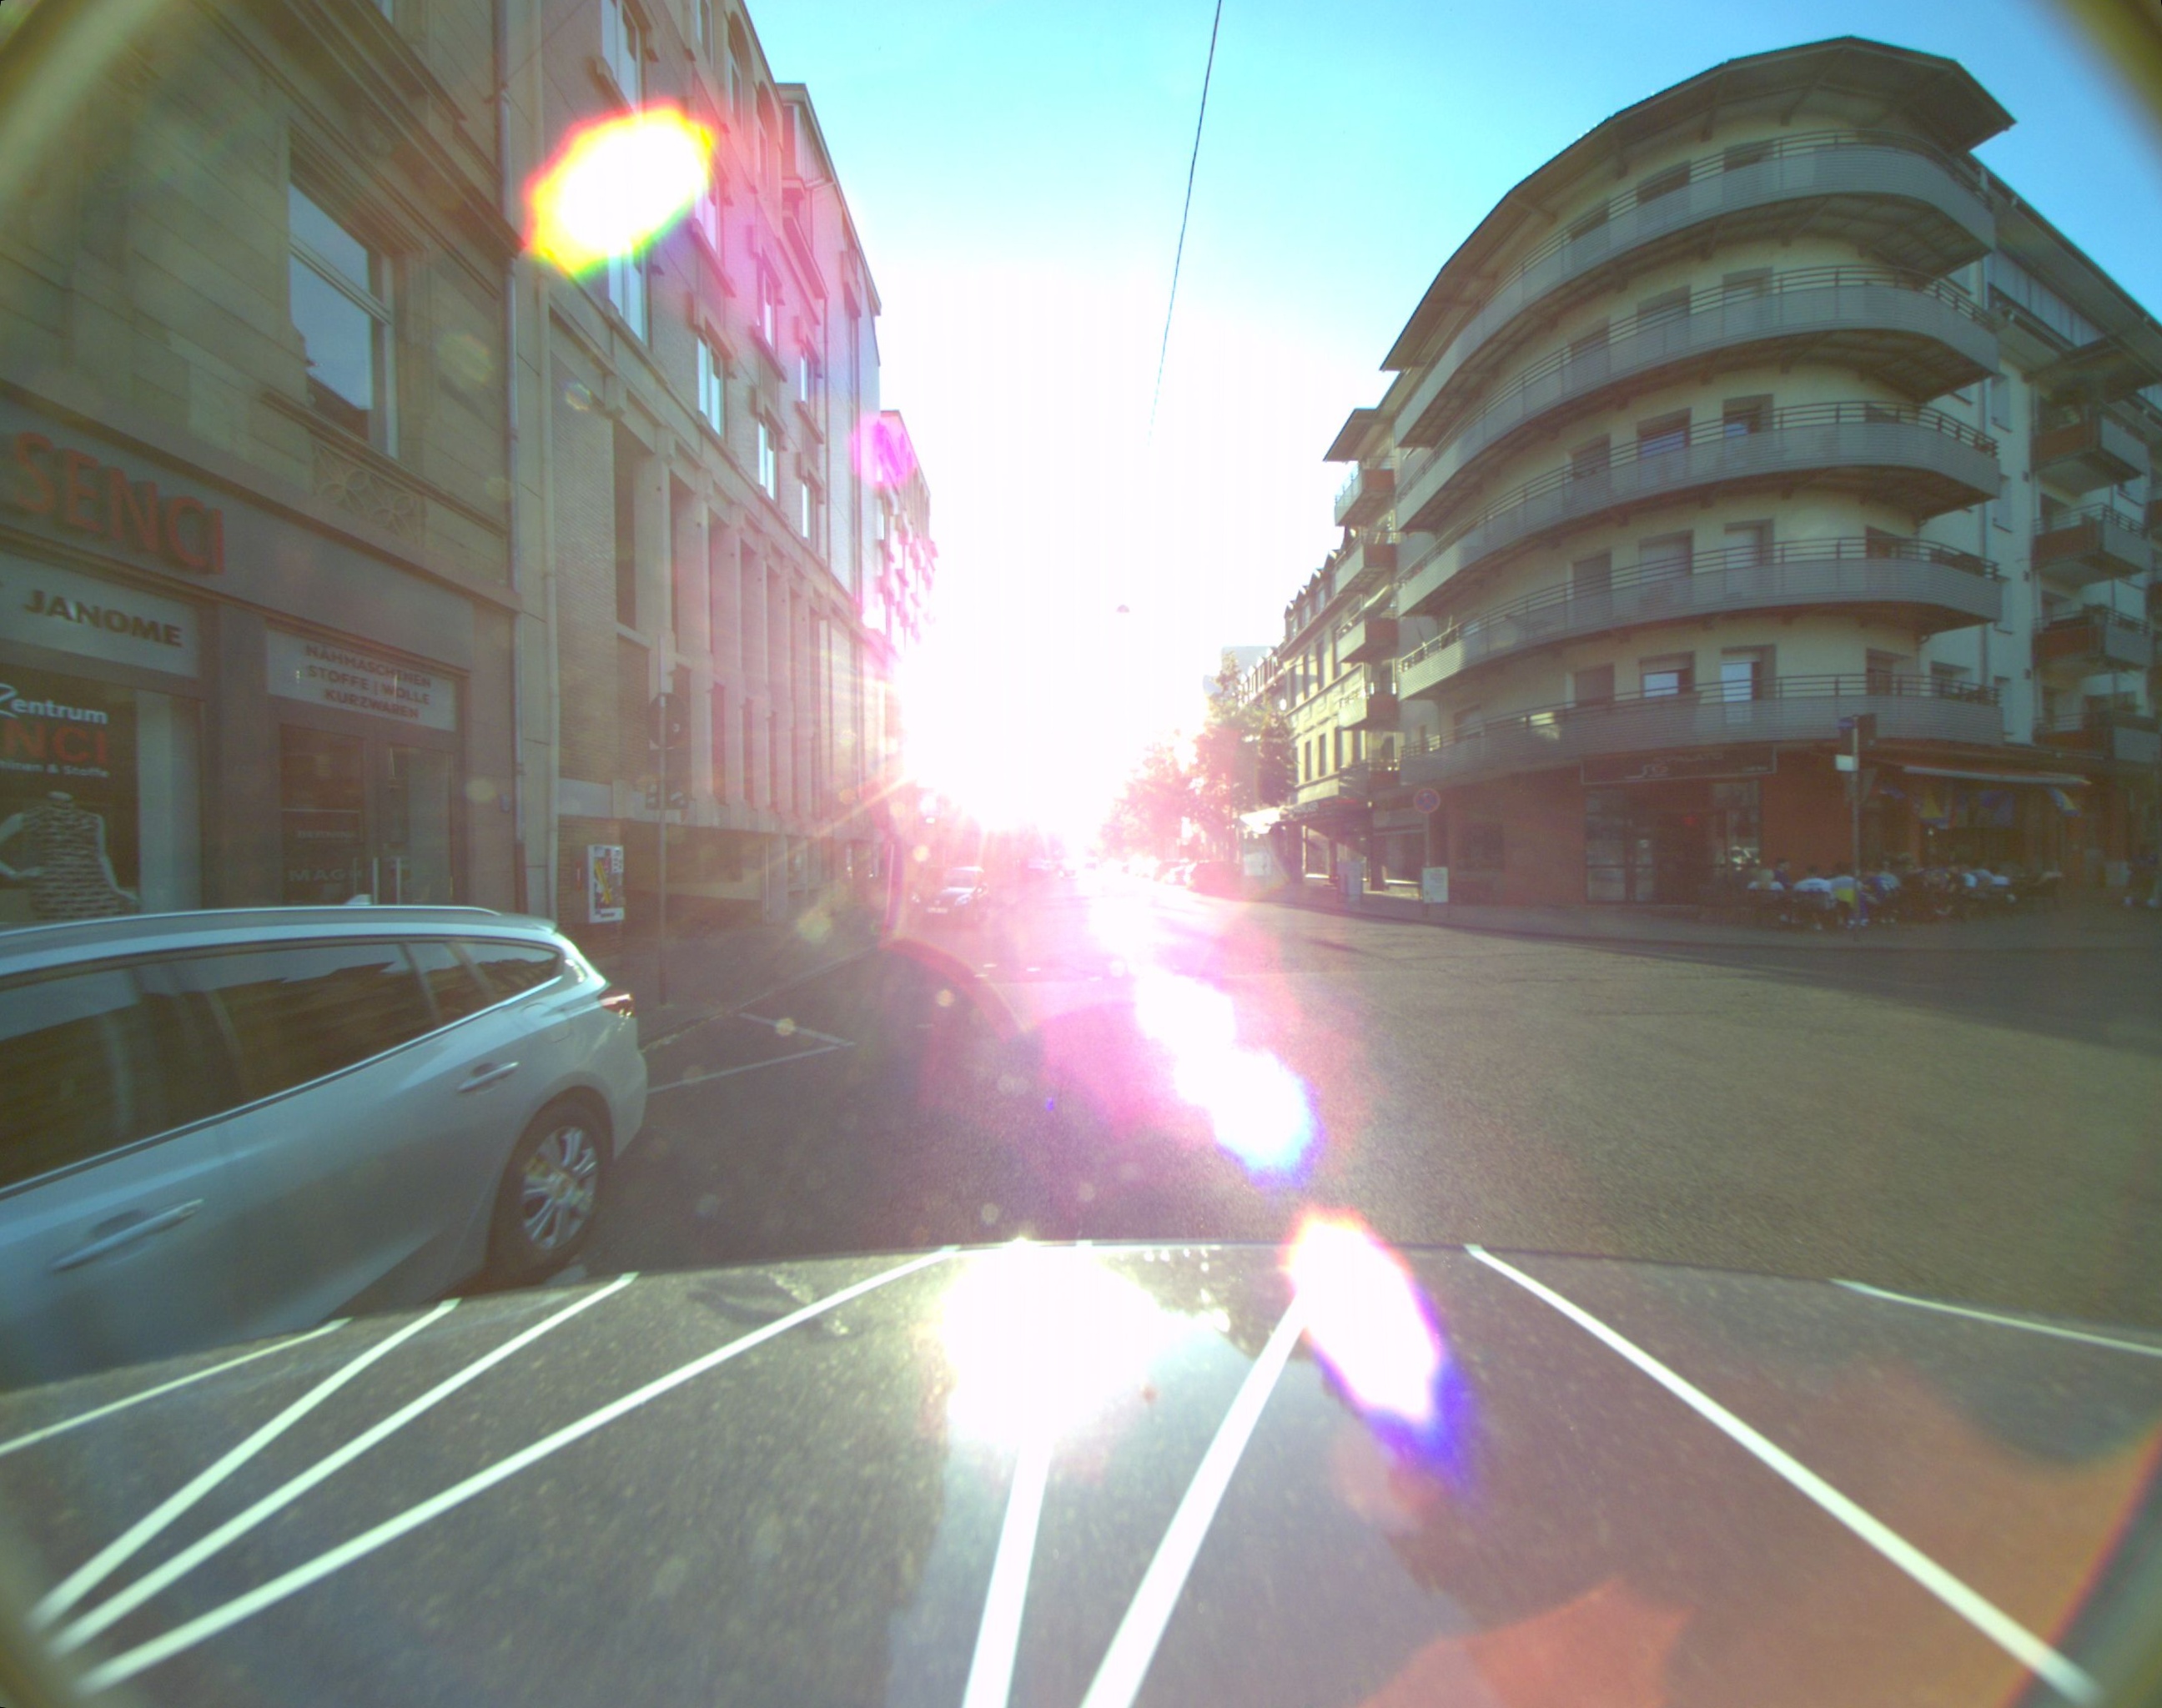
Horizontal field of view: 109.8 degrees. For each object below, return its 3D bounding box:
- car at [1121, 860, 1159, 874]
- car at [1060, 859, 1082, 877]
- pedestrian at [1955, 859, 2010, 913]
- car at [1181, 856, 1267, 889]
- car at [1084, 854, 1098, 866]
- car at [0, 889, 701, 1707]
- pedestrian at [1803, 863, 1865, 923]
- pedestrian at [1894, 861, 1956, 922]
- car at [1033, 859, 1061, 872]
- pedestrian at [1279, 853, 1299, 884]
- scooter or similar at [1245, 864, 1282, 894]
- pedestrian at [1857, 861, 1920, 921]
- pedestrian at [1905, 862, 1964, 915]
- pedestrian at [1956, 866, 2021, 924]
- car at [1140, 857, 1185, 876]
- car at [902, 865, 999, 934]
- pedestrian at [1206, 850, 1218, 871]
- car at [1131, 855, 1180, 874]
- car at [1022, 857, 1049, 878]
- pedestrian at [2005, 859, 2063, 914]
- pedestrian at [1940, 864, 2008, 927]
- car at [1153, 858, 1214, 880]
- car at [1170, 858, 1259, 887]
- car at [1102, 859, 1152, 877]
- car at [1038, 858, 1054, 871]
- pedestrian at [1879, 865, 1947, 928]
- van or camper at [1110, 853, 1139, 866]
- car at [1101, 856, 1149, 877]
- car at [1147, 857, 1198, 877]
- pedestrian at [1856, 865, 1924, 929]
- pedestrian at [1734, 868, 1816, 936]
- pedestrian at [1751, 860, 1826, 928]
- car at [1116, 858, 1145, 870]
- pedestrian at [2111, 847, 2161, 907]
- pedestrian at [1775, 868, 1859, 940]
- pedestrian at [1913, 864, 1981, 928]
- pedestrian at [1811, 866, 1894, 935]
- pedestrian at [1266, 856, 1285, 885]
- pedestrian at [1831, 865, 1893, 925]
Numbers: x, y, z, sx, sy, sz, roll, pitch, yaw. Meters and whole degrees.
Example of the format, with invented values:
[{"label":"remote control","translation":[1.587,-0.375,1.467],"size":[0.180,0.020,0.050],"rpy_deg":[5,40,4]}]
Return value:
[{"label":"car","translation":[6.782,1.515,87.572],"size":[4.285,1.475,1.744],"rpy_deg":[-2,0,0]},{"label":"car","translation":[-0.854,1.220,66.899],"size":[1.825,1.469,4.155],"rpy_deg":[-2,0,0]},{"label":"pedestrian","translation":[22.471,0.780,18.947],"size":[0.622,1.280,0.700],"rpy_deg":[-1,2,-22]},{"label":"car","translation":[7.462,0.961,39.947],"size":[4.083,1.527,1.884],"rpy_deg":[-2,0,-1]},{"label":"car","translation":[1.424,0.870,112.174],"size":[1.866,1.682,4.461],"rpy_deg":[-1,-1,-1]},{"label":"car","translation":[-2.810,1.003,1.525],"size":[1.764,1.527,4.820],"rpy_deg":[-3,0,-3]},{"label":"pedestrian","translation":[16.283,0.836,16.437],"size":[0.622,1.240,0.701],"rpy_deg":[-1,2,-10]},{"label":"pedestrian","translation":[19.148,0.842,17.254],"size":[0.622,1.326,0.701],"rpy_deg":[-1,2,-10]},{"label":"car","translation":[-4.490,1.501,99.886],"size":[1.661,1.574,3.632],"rpy_deg":[-1,-2,41]},{"label":"pedestrian","translation":[11.206,0.795,40.976],"size":[0.774,1.598,0.875],"rpy_deg":[-2,2,0]},{"label":"scooter or similar","translation":[7.784,1.054,32.405],"size":[1.402,1.218,0.525],"rpy_deg":[-2,0,-4]},{"label":"pedestrian","translation":[18.021,0.810,16.976],"size":[0.657,1.280,0.701],"rpy_deg":[-1,2,-10]},{"label":"pedestrian","translation":[20.476,0.815,18.236],"size":[0.622,1.218,0.700],"rpy_deg":[-1,2,-14]},{"label":"pedestrian","translation":[20.174,0.898,16.900],"size":[0.622,1.218,0.700],"rpy_deg":[-1,2,-14]},{"label":"car","translation":[6.942,1.037,64.719],"size":[3.566,1.493,1.715],"rpy_deg":[-2,0,-2]},{"label":"car","translation":[-3.293,1.101,19.855],"size":[1.763,1.527,4.000],"rpy_deg":[2,0,0]},{"label":"pedestrian","translation":[10.811,0.541,62.867],"size":[0.774,1.712,0.875],"rpy_deg":[-2,2,0]},{"label":"car","translation":[7.036,0.980,72.382],"size":[4.418,1.586,1.890],"rpy_deg":[-2,-1,-2]},{"label":"car","translation":[-3.970,1.163,67.326],"size":[2.044,1.727,4.711],"rpy_deg":[1,0,0]},{"label":"pedestrian","translation":[23.047,0.769,18.379],"size":[0.622,1.280,0.700],"rpy_deg":[-1,2,-22]},{"label":"pedestrian","translation":[19.047,0.876,16.210],"size":[0.622,1.280,0.701],"rpy_deg":[-1,2,-10]},{"label":"car","translation":[7.456,1.090,55.406],"size":[4.118,1.395,1.883],"rpy_deg":[-2,0,-3]},{"label":"car","translation":[7.424,1.009,42.618],"size":[4.583,1.399,1.821],"rpy_deg":[-2,0,-2]},{"label":"car","translation":[4.056,1.196,67.101],"size":[4.161,1.413,1.766],"rpy_deg":[-2,0,-3]},{"label":"car","translation":[-4.172,1.235,91.098],"size":[1.696,1.534,3.553],"rpy_deg":[1,0,-1]},{"label":"pedestrian","translation":[17.177,0.860,15.703],"size":[0.622,1.240,0.701],"rpy_deg":[-1,2,-10]},{"label":"van or camper","translation":[6.792,0.845,118.417],"size":[4.470,1.944,1.789],"rpy_deg":[-1,0,1]},{"label":"car","translation":[4.002,1.155,69.931],"size":[4.161,1.762,1.889],"rpy_deg":[-2,0,-3]},{"label":"car","translation":[7.287,1.021,60.773],"size":[3.748,1.435,1.805],"rpy_deg":[-2,0,-3]},{"label":"pedestrian","translation":[16.480,0.864,15.492],"size":[0.622,1.240,0.701],"rpy_deg":[-1,2,-10]},{"label":"pedestrian","translation":[13.441,0.908,14.730],"size":[0.900,1.235,0.767],"rpy_deg":[-1,2,-9]},{"label":"pedestrian","translation":[14.653,0.804,15.760],"size":[0.748,1.340,0.828],"rpy_deg":[-1,2,-7]},{"label":"car","translation":[6.754,1.394,103.874],"size":[3.877,1.448,1.744],"rpy_deg":[-2,0,-3]},{"label":"pedestrian","translation":[26.189,0.551,18.843],"size":[0.702,1.461,0.620],"rpy_deg":[-1,2,-27]},{"label":"pedestrian","translation":[13.651,0.909,14.106],"size":[0.829,1.266,0.748],"rpy_deg":[-1,2,-9]},{"label":"pedestrian","translation":[18.138,0.862,15.925],"size":[0.622,1.280,0.701],"rpy_deg":[-1,2,-10]},{"label":"pedestrian","translation":[14.794,0.874,14.593],"size":[0.724,1.240,0.828],"rpy_deg":[-1,2,-7]},{"label":"pedestrian","translation":[10.479,0.897,40.956],"size":[0.736,1.519,0.875],"rpy_deg":[-2,2,0]},{"label":"pedestrian","translation":[17.017,0.877,16.572],"size":[0.622,1.240,0.701],"rpy_deg":[-1,2,-10]}]
